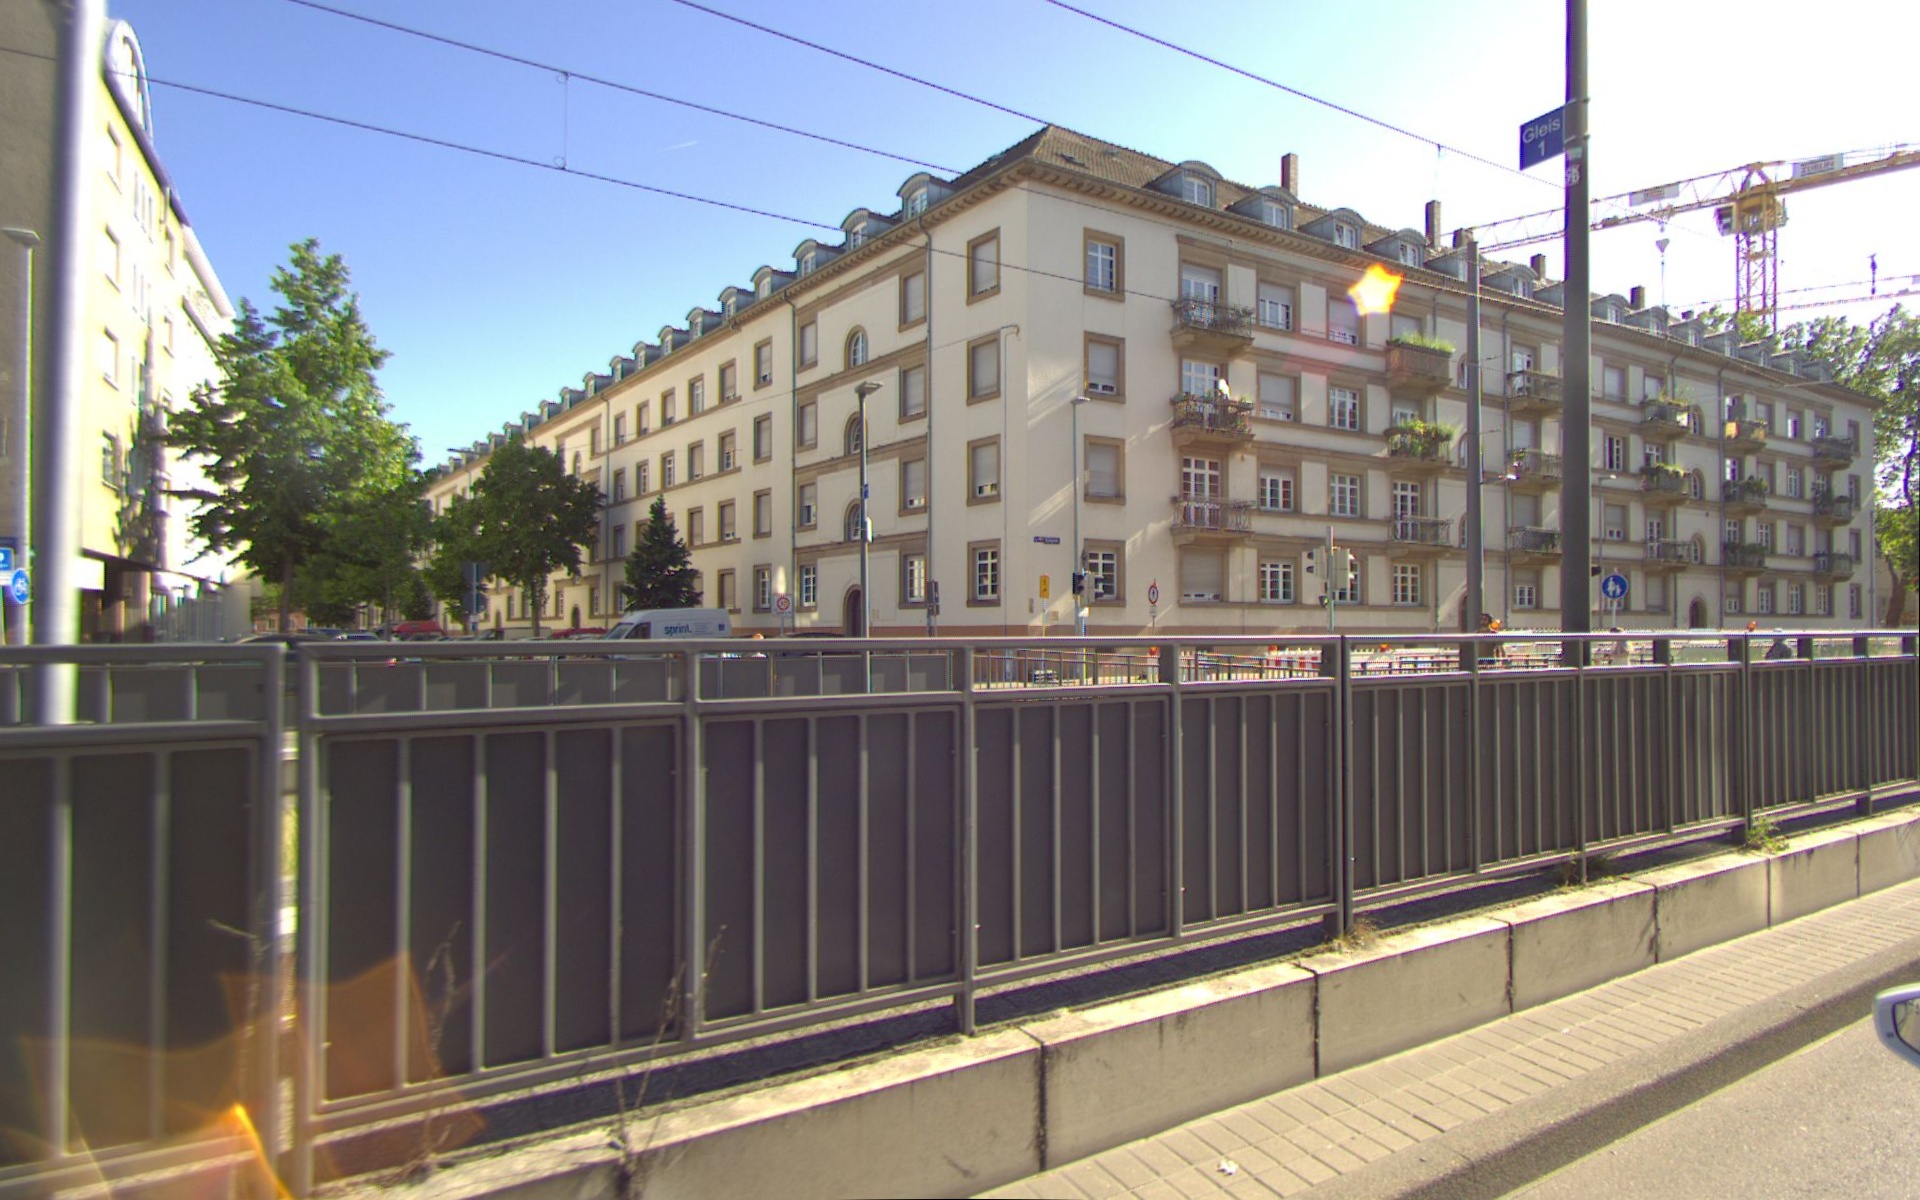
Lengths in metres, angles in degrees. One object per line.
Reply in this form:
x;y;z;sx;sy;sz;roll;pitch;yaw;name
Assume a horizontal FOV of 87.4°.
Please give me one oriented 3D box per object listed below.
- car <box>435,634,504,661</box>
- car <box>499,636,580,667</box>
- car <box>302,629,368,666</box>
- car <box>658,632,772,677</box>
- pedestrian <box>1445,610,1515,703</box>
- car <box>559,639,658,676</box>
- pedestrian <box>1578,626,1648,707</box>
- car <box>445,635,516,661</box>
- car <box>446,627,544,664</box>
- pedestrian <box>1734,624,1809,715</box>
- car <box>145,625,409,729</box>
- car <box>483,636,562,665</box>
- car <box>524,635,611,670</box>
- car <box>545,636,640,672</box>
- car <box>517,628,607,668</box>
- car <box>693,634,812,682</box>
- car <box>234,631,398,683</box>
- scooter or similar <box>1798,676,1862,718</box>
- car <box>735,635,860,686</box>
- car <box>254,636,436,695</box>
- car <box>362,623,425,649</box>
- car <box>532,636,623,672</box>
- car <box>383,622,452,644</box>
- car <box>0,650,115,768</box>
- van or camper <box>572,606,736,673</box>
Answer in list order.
-30.871;2.982;63.228;3.635;1.658;1.672;1;-2;-40;car
-22.105;2.677;52.867;3.635;1.521;1.672;1;-2;-40;car
-29.780;2.225;47.815;1.942;1.684;3.950;1;-2;-43;car
-8.754;1.912;36.062;3.635;1.542;1.672;1;-2;-40;car
10.377;1.117;20.067;0.852;1.804;0.908;1;0;-9;pedestrian
-14.926;2.410;42.751;3.635;1.484;1.672;1;-2;-40;car
13.006;1.301;20.023;0.899;1.557;0.861;1;-1;-30;pedestrian
-29.455;2.946;61.720;3.635;1.542;1.672;1;-2;-40;car
-26.851;2.576;58.036;4.832;2.034;1.920;1;-2;-39;car
14.424;1.221;17.865;0.788;1.557;0.809;1;-1;-29;pedestrian
-12.704;1.363;18.992;3.955;1.782;1.806;1;-2;-32;car
-23.821;2.716;54.770;3.635;1.521;1.672;1;-2;-40;car
-19.088;2.529;48.942;3.635;1.617;1.672;1;-2;-40;car
-16.392;2.371;44.867;3.635;1.542;1.672;1;-2;-40;car
-20.128;2.415;50.897;3.911;1.953;1.672;1;-2;-40;car
-7.030;1.932;34.167;3.643;1.542;1.672;1;-2;-40;car
-19.731;1.708;30.876;3.974;1.470;1.762;2;-2;-44;car
15.030;1.663;17.361;0.509;0.660;0.704;1;-1;-28;scooter or similar
-5.181;1.897;32.226;3.643;1.542;1.672;1;-2;-40;car
-16.808;1.734;27.564;3.974;1.470;1.762;2;-2;-44;car
-48.906;3.086;86.762;4.533;2.127;2.023;1;-2;-39;car
-17.720;2.478;46.614;3.635;1.542;1.672;1;-2;-40;car
-43.145;2.622;79.882;4.533;1.754;2.023;1;-2;-39;car
-12.718;1.284;11.875;3.916;1.303;1.686;2;-1;-31;car
-11.956;1.531;39.605;5.911;2.432;1.976;1;-2;-42;van or camper
